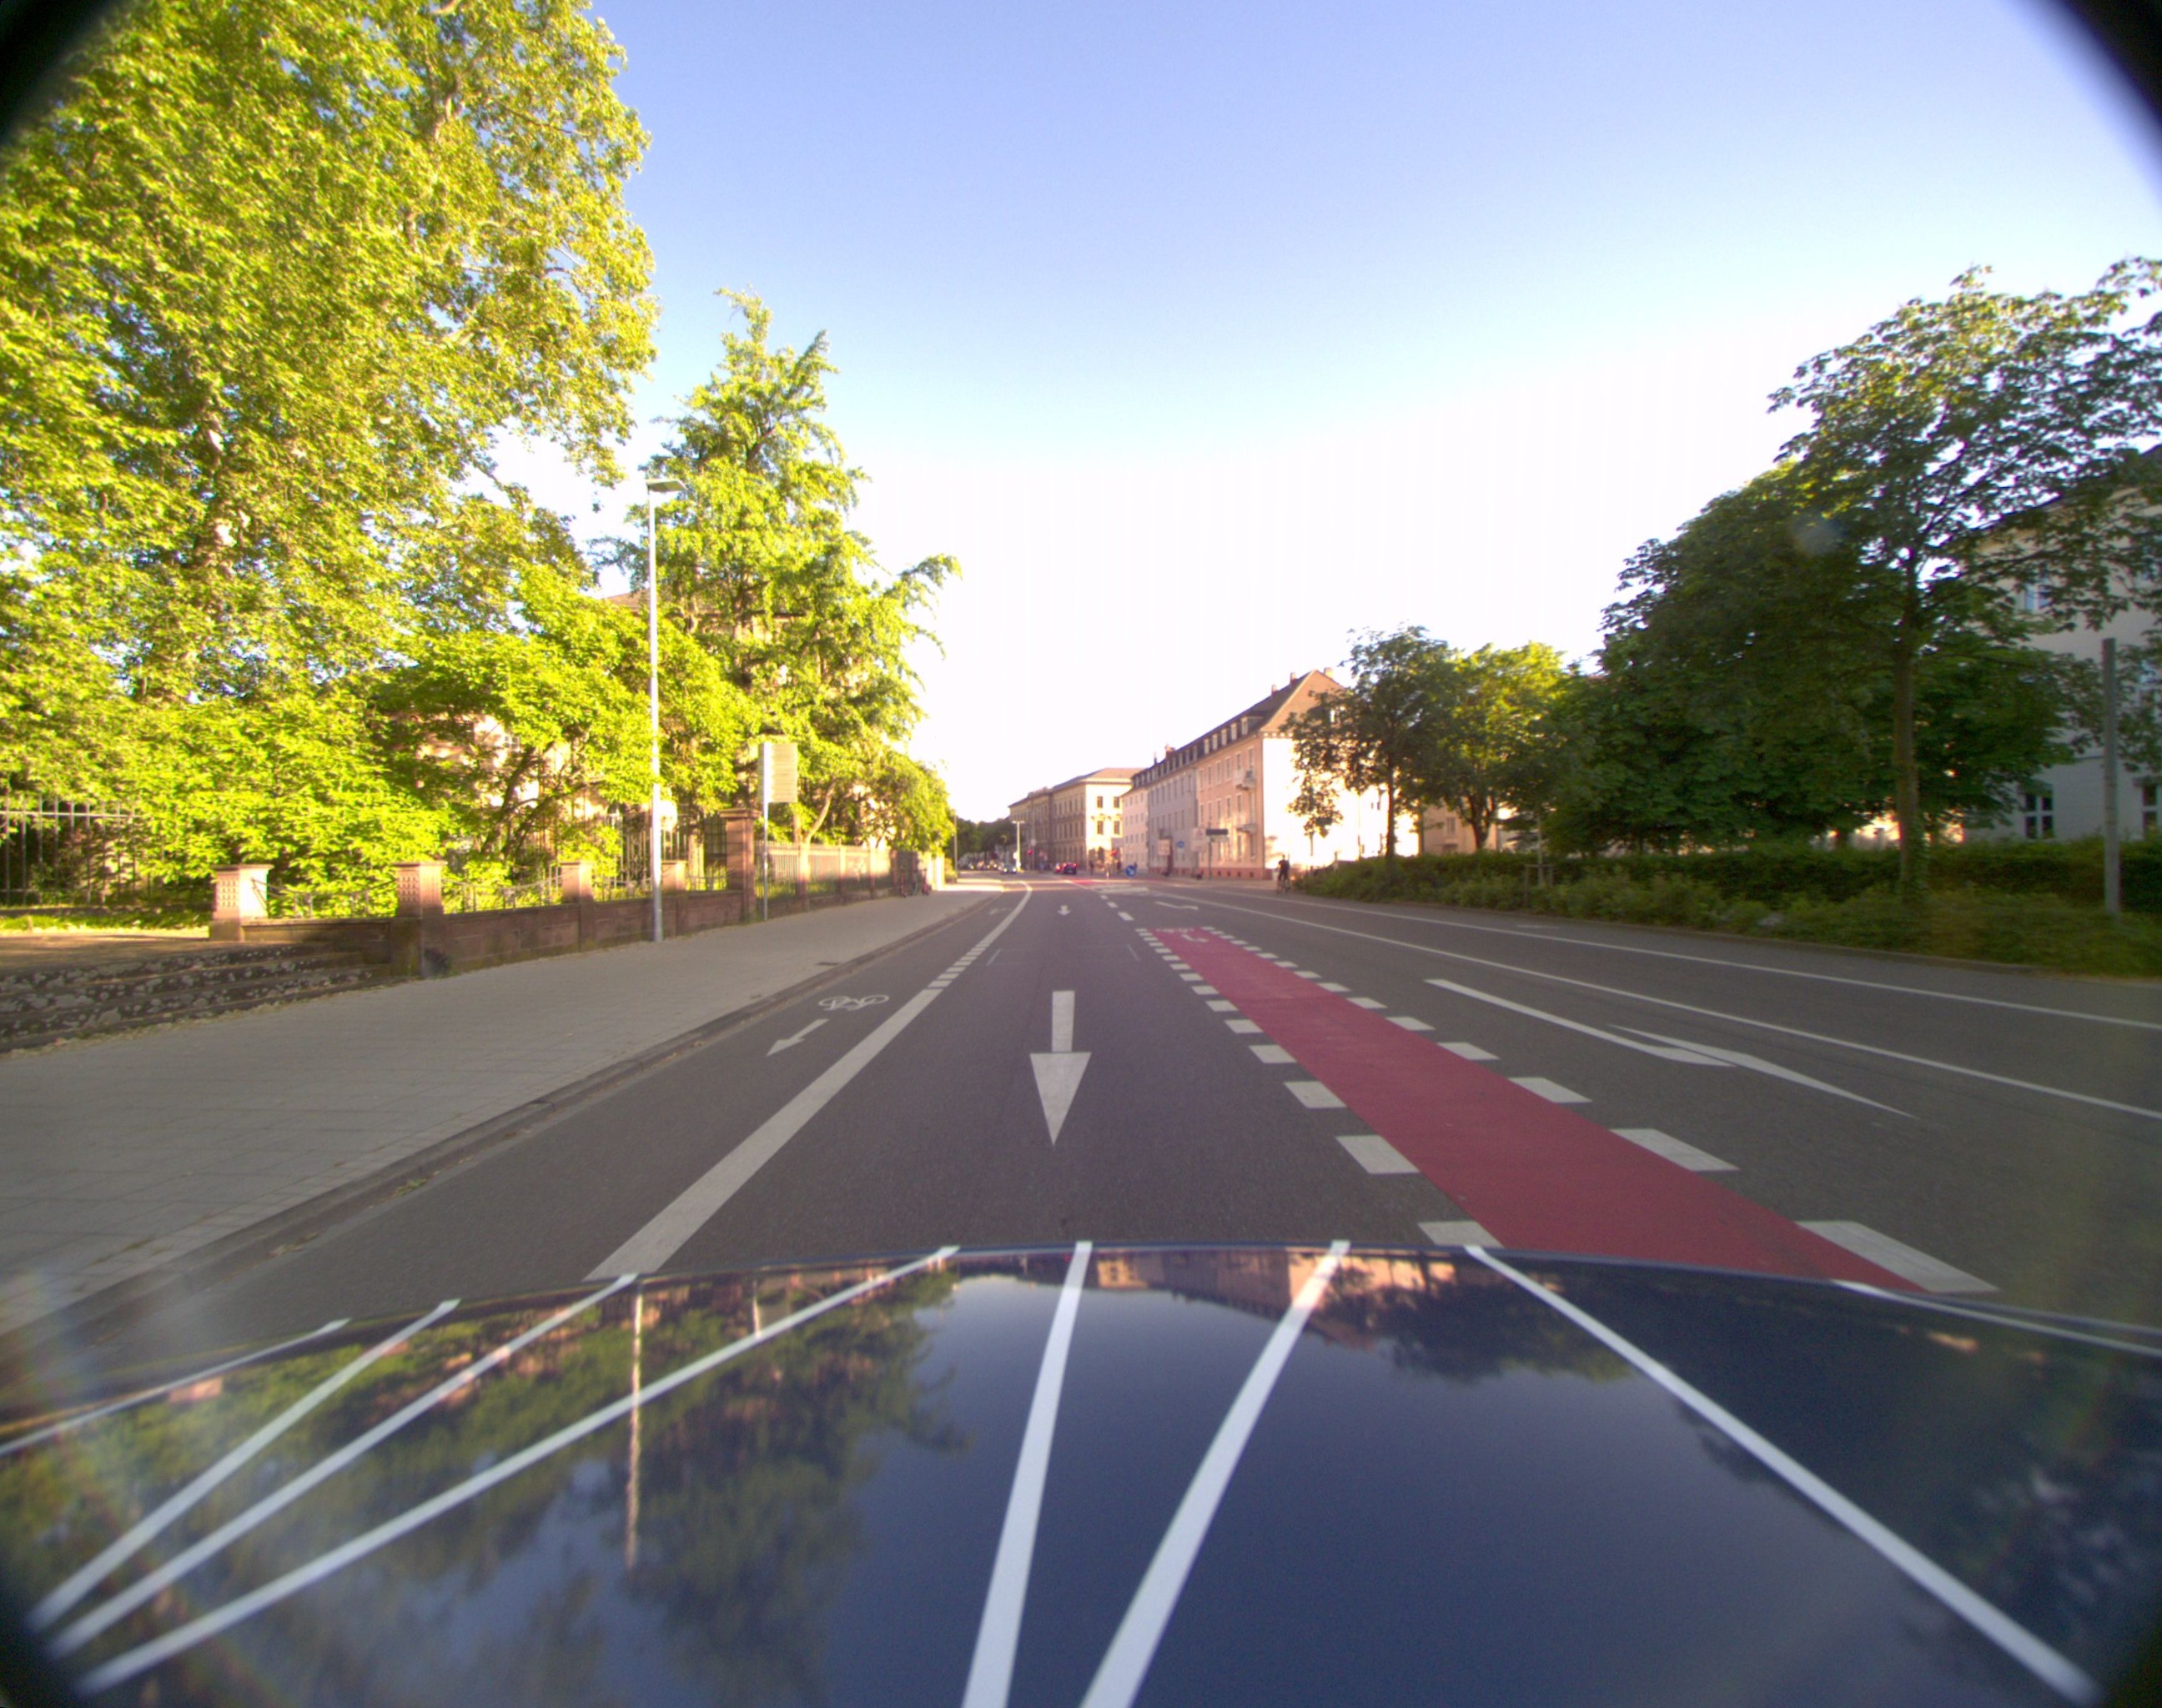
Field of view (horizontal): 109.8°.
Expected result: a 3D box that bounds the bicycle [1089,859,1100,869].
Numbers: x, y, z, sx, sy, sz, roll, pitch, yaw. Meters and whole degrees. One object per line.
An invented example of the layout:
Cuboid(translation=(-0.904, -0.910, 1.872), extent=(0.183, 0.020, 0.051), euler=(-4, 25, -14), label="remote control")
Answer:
Cuboid(translation=(1.673, 1.298, 94.680), extent=(0.956, 1.216, 2.777), euler=(0, 0, -9), label="bicycle")

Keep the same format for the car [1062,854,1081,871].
Cuboid(translation=(-1.158, 0.954, 90.954), extent=(1.999, 2.002, 3.998), euler=(0, 0, -5), label="car")

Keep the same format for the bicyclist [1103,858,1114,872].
Cuboid(translation=(2.854, 1.159, 78.692), extent=(1.026, 1.481, 0.870), euler=(0, 0, -9), label="bicyclist")

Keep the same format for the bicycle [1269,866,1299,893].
Cuboid(translation=(9.306, 1.167, 34.951), extent=(0.697, 1.152, 2.245), euler=(0, 0, -3), label="bicycle")

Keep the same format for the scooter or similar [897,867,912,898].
Cuboid(translation=(-7.453, 1.201, 32.026), extent=(0.576, 1.246, 1.486), euler=(0, 0, -15), label="scooter or similar")

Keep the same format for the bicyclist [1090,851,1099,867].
Cuboid(translation=(1.682, 0.666, 94.636), extent=(0.956, 2.002, 1.307), euler=(0, 0, -9), label="bicyclist")

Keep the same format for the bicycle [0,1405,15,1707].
Cuboid(translation=(-2.444, 1.261, 0.449), extent=(0.670, 1.003, 2.081), euler=(-2, 0, 0), label="bicycle")

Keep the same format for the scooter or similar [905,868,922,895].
Cuboid(translation=(-7.460, 1.217, 33.879), extent=(0.576, 1.177, 1.487), euler=(0, 0, -7), label="scooter or similar")

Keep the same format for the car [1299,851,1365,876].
Cuboid(translation=(17.975, 0.660, 54.516), extent=(4.000, 1.652, 1.998), euler=(-2, 1, -9), label="car")

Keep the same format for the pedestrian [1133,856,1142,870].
Cuboid(translation=(7.564, 1.214, 101.583), extent=(0.949, 1.894, 1.062), euler=(-2, 1, -7), label="pedestrian")

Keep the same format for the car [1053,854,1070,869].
Cuboid(translation=(-2.585, 0.983, 99.001), extent=(1.999, 2.002, 3.998), euler=(0, 0, -5), label="car")

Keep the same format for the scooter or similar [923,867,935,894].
Cuboid(translation=(-6.983, 1.206, 34.959), extent=(0.517, 1.233, 1.521), euler=(0, 0, -11), label="scooter or similar")

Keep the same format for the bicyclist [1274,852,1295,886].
Cuboid(translation=(9.312, 0.687, 34.850), extent=(0.691, 1.553, 0.838), euler=(0, 0, -3), label="bicyclist")

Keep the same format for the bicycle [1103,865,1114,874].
Cuboid(translation=(2.843, 1.617, 78.842), extent=(0.663, 0.907, 2.861), euler=(0, 0, -9), label="bicycle")

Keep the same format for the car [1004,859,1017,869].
Cuboid(translation=(-9.457, 1.323, 102.231), extent=(1.710, 1.397, 4.262), euler=(0, 0, -5), label="car")
